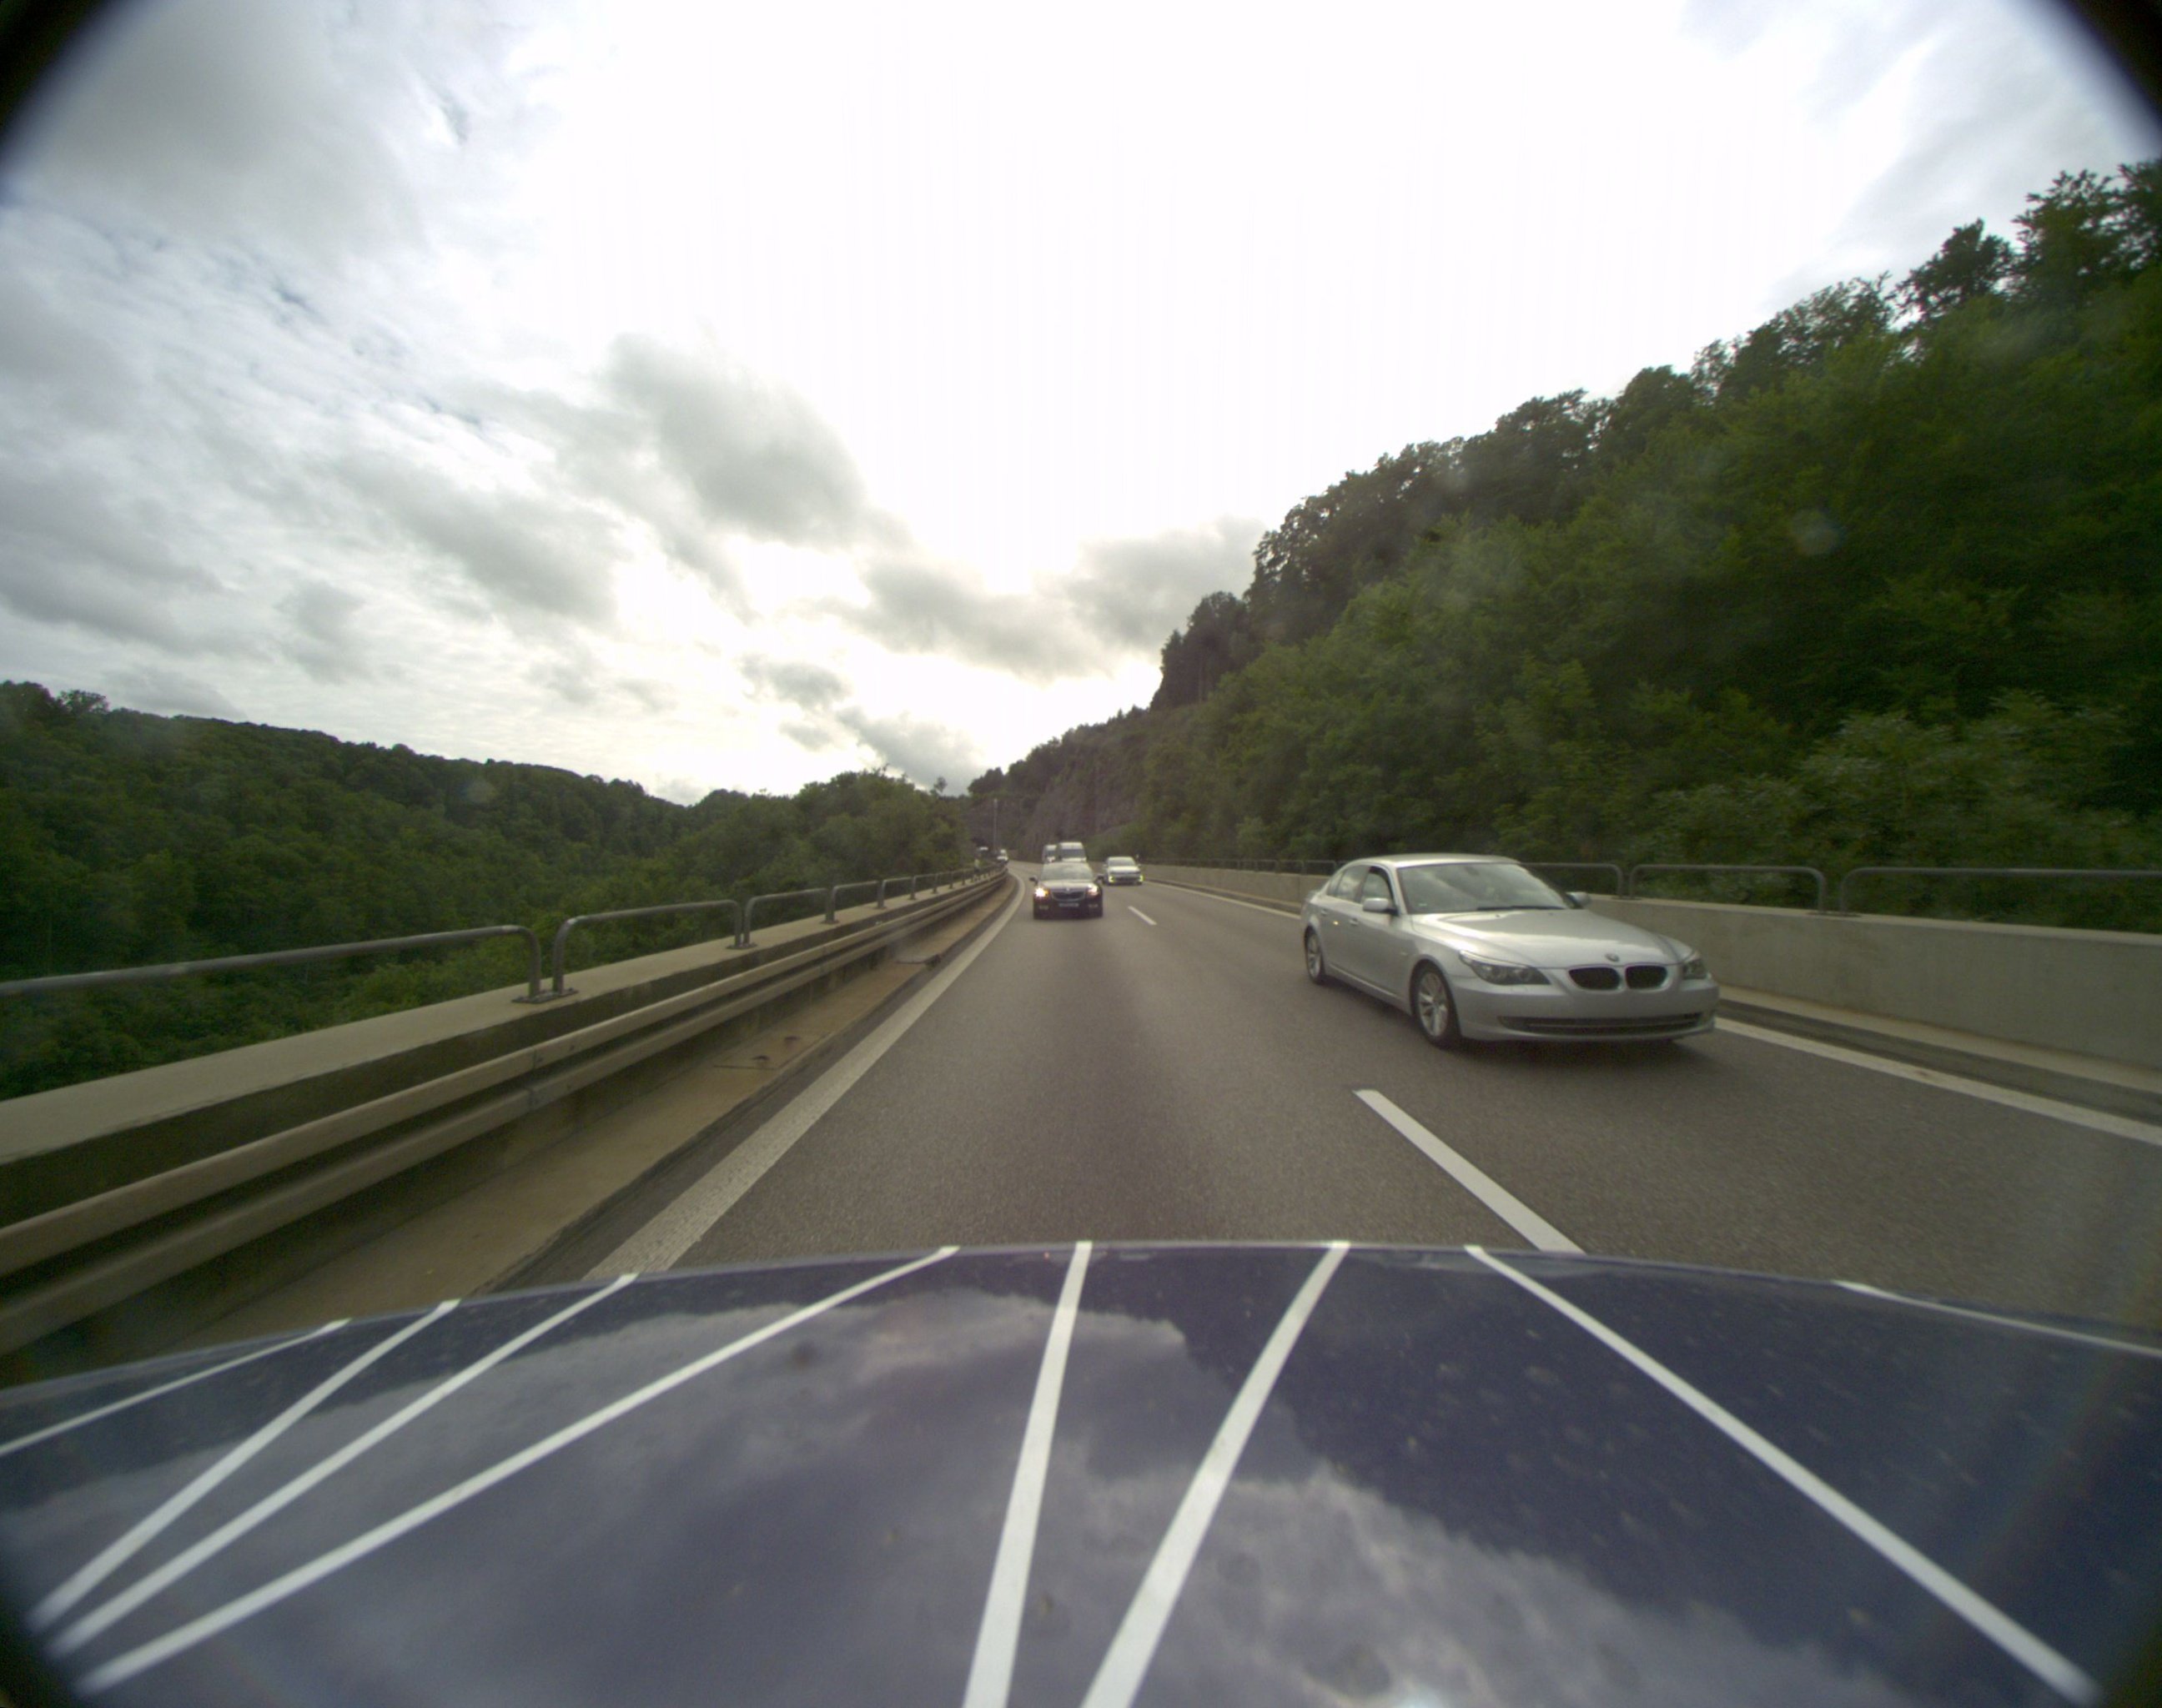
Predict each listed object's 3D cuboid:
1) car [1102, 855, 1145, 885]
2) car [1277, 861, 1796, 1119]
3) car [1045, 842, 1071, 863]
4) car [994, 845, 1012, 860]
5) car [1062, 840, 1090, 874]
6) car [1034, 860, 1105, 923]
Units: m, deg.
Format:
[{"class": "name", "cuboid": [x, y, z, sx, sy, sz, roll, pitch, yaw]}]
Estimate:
[{"class": "car", "cuboid": [2.185, 0.803, 40.011, 1.923, 1.452, 4.230, -2, 0, -1]}, {"class": "car", "cuboid": [3.463, 0.860, 7.232, 1.833, 1.448, 5.134, -2, 0, 0]}, {"class": "car", "cuboid": [-2.545, -0.154, 82.201, 2.231, 2.061, 5.620, -2, 0, -8]}, {"class": "car", "cuboid": [-13.524, -0.209, 130.685, 2.676, 2.408, 6.116, -2, 0, -9]}, {"class": "car", "cuboid": [-0.425, 0.154, 60.333, 1.869, 2.444, 4.980, -2, 2, -4]}, {"class": "car", "cuboid": [-0.330, 0.935, 20.699, 1.677, 1.419, 4.472, -2, 0, -1]}]
